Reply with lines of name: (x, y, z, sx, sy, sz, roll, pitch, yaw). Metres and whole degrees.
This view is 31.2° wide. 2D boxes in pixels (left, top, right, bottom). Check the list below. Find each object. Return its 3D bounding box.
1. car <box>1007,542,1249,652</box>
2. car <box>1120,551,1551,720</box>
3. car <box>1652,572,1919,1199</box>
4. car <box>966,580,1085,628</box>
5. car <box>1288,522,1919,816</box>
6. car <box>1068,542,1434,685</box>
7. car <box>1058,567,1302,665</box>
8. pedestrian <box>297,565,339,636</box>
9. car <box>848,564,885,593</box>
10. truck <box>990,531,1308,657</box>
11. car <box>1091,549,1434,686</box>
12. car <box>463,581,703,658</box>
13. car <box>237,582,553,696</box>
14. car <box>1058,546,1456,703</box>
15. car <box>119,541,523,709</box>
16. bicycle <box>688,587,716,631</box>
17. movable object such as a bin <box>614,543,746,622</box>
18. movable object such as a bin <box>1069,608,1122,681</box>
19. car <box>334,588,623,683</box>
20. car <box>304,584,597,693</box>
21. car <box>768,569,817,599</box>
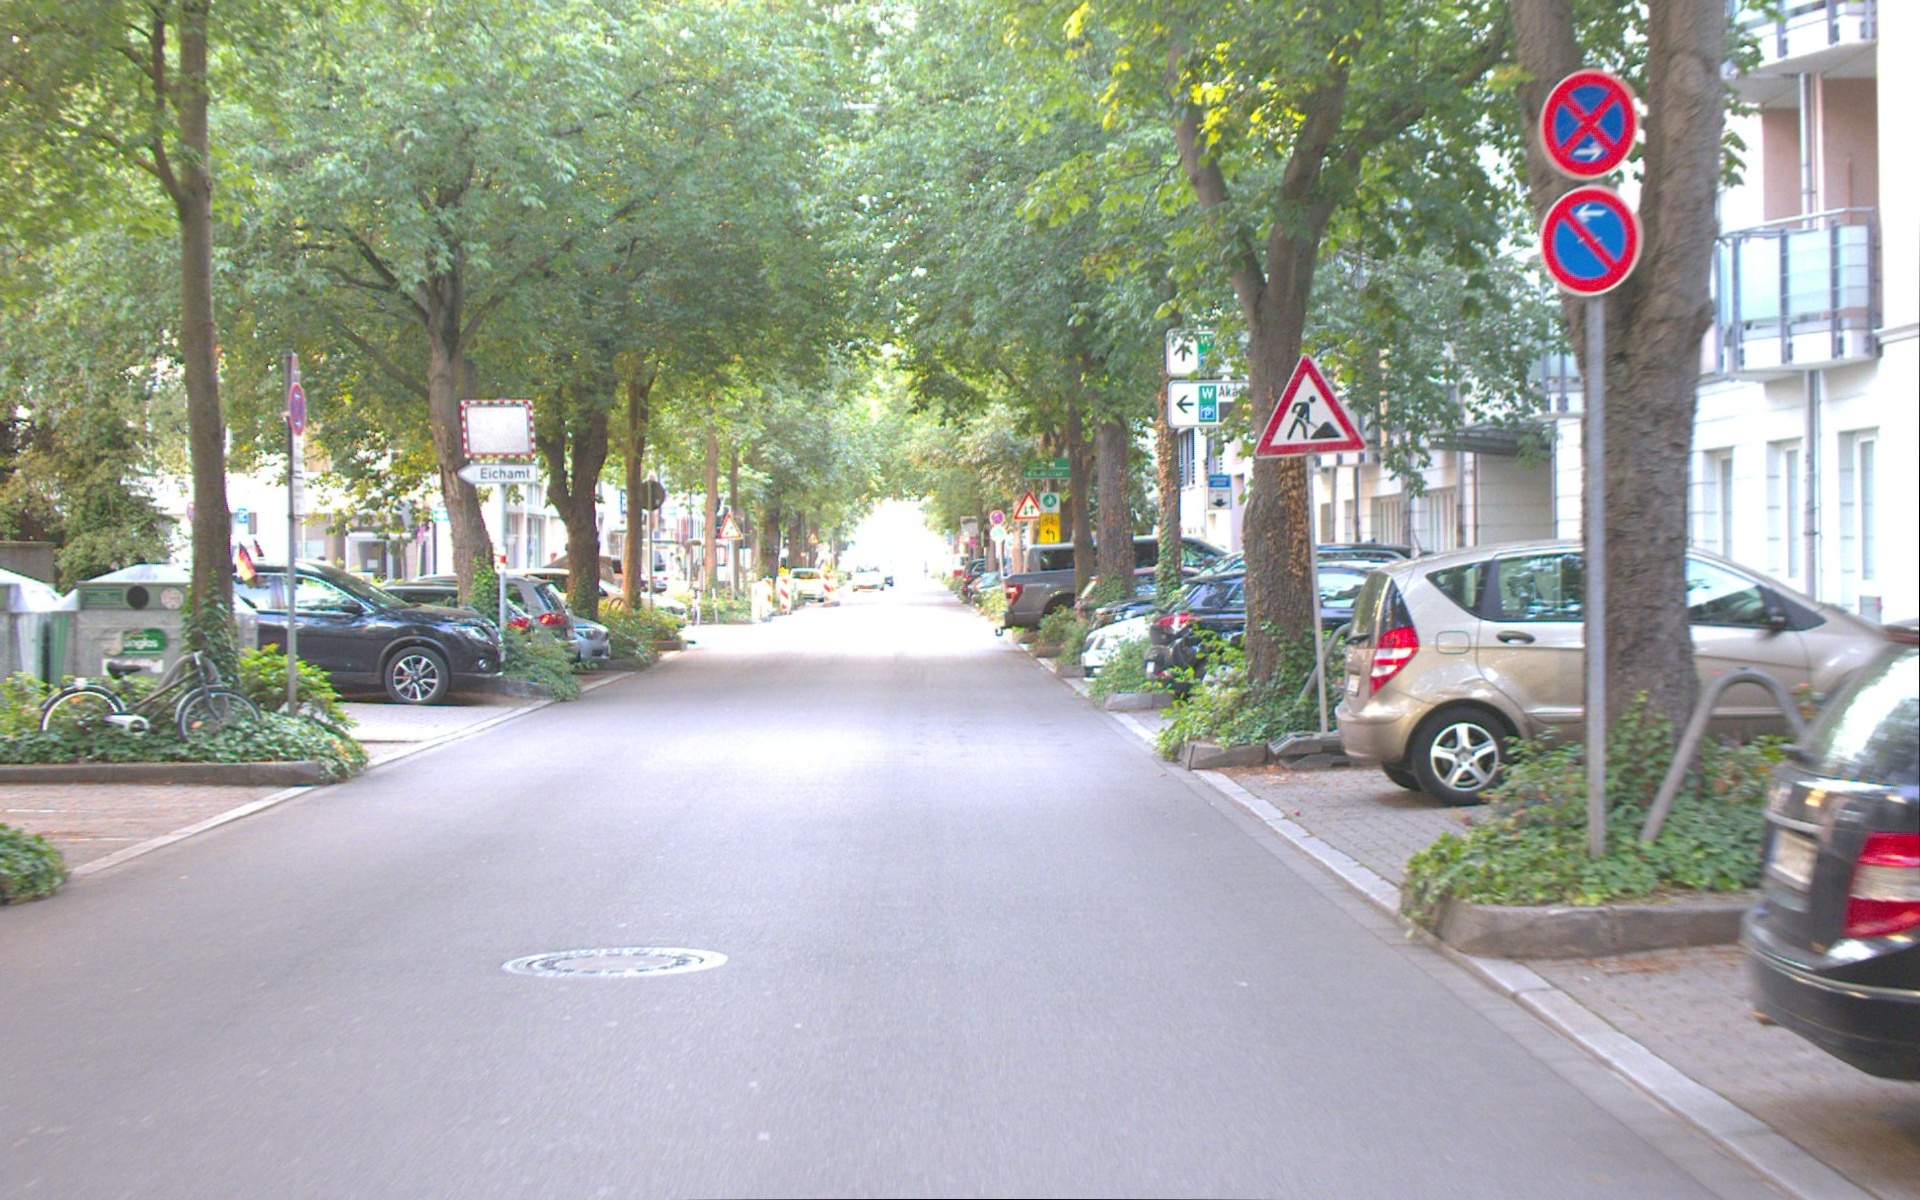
car: (3.285, -0.075, 67.944, 4.600, 2.059, 2.198, -1, 1, -2)
car: (3.871, 0.351, 35.881, 4.082, 1.446, 1.935, -4, 1, -6)
car: (4.184, 0.555, 8.719, 4.459, 1.422, 2.011, -3, 0, 4)
car: (2.228, 0.129, 116.611, 3.987, 1.579, 2.000, -1, 0, 1)
car: (4.214, 0.404, 21.854, 3.969, 1.580, 1.916, -3, 0, -1)
car: (3.952, 0.175, 47.165, 4.641, 1.612, 2.010, -4, 1, -4)
car: (3.522, 0.243, 55.584, 3.776, 1.539, 1.878, 0, 0, -2)
pedestrian: (-16.884, 0.006, 90.405, 0.887, 1.844, 0.876, -1, 0, 4)
car: (-5.320, -1.210, 195.403, 2.009, 1.607, 4.120, -1, 1, -2)
truck: (3.537, -0.120, 65.203, 5.887, 2.303, 2.212, 0, 0, 0)
car: (3.874, 0.215, 44.572, 4.224, 1.433, 1.929, -4, 0, 1)
car: (-7.635, 0.383, 69.943, 4.619, 1.547, 2.075, 0, 0, 2)
car: (-7.571, 0.507, 46.389, 3.986, 1.459, 1.922, 0, 0, -2)
car: (3.583, 0.279, 41.989, 4.599, 1.462, 1.797, -3, 6, -1)
car: (-7.592, 0.284, 41.166, 4.504, 1.949, 2.000, 0, 0, -2)
bicycle: (-6.997, 0.226, 93.275, 0.683, 1.149, 1.981, -1, 1, -6)
movable object such as a bin: (-8.801, -0.562, 107.792, 4.045, 2.375, 2.785, -1, 1, -6)
movable object such as a bin: (2.087, 0.676, 53.021, 0.760, 1.080, 0.785, -2, 0, 0)
car: (-7.538, 0.539, 54.065, 4.287, 1.425, 1.879, 0, 0, -1)
car: (-7.590, 0.562, 51.437, 3.987, 1.560, 1.929, 0, 0, 5)
car: (-7.456, -0.717, 152.847, 1.993, 1.284, 4.001, -1, 0, -5)
